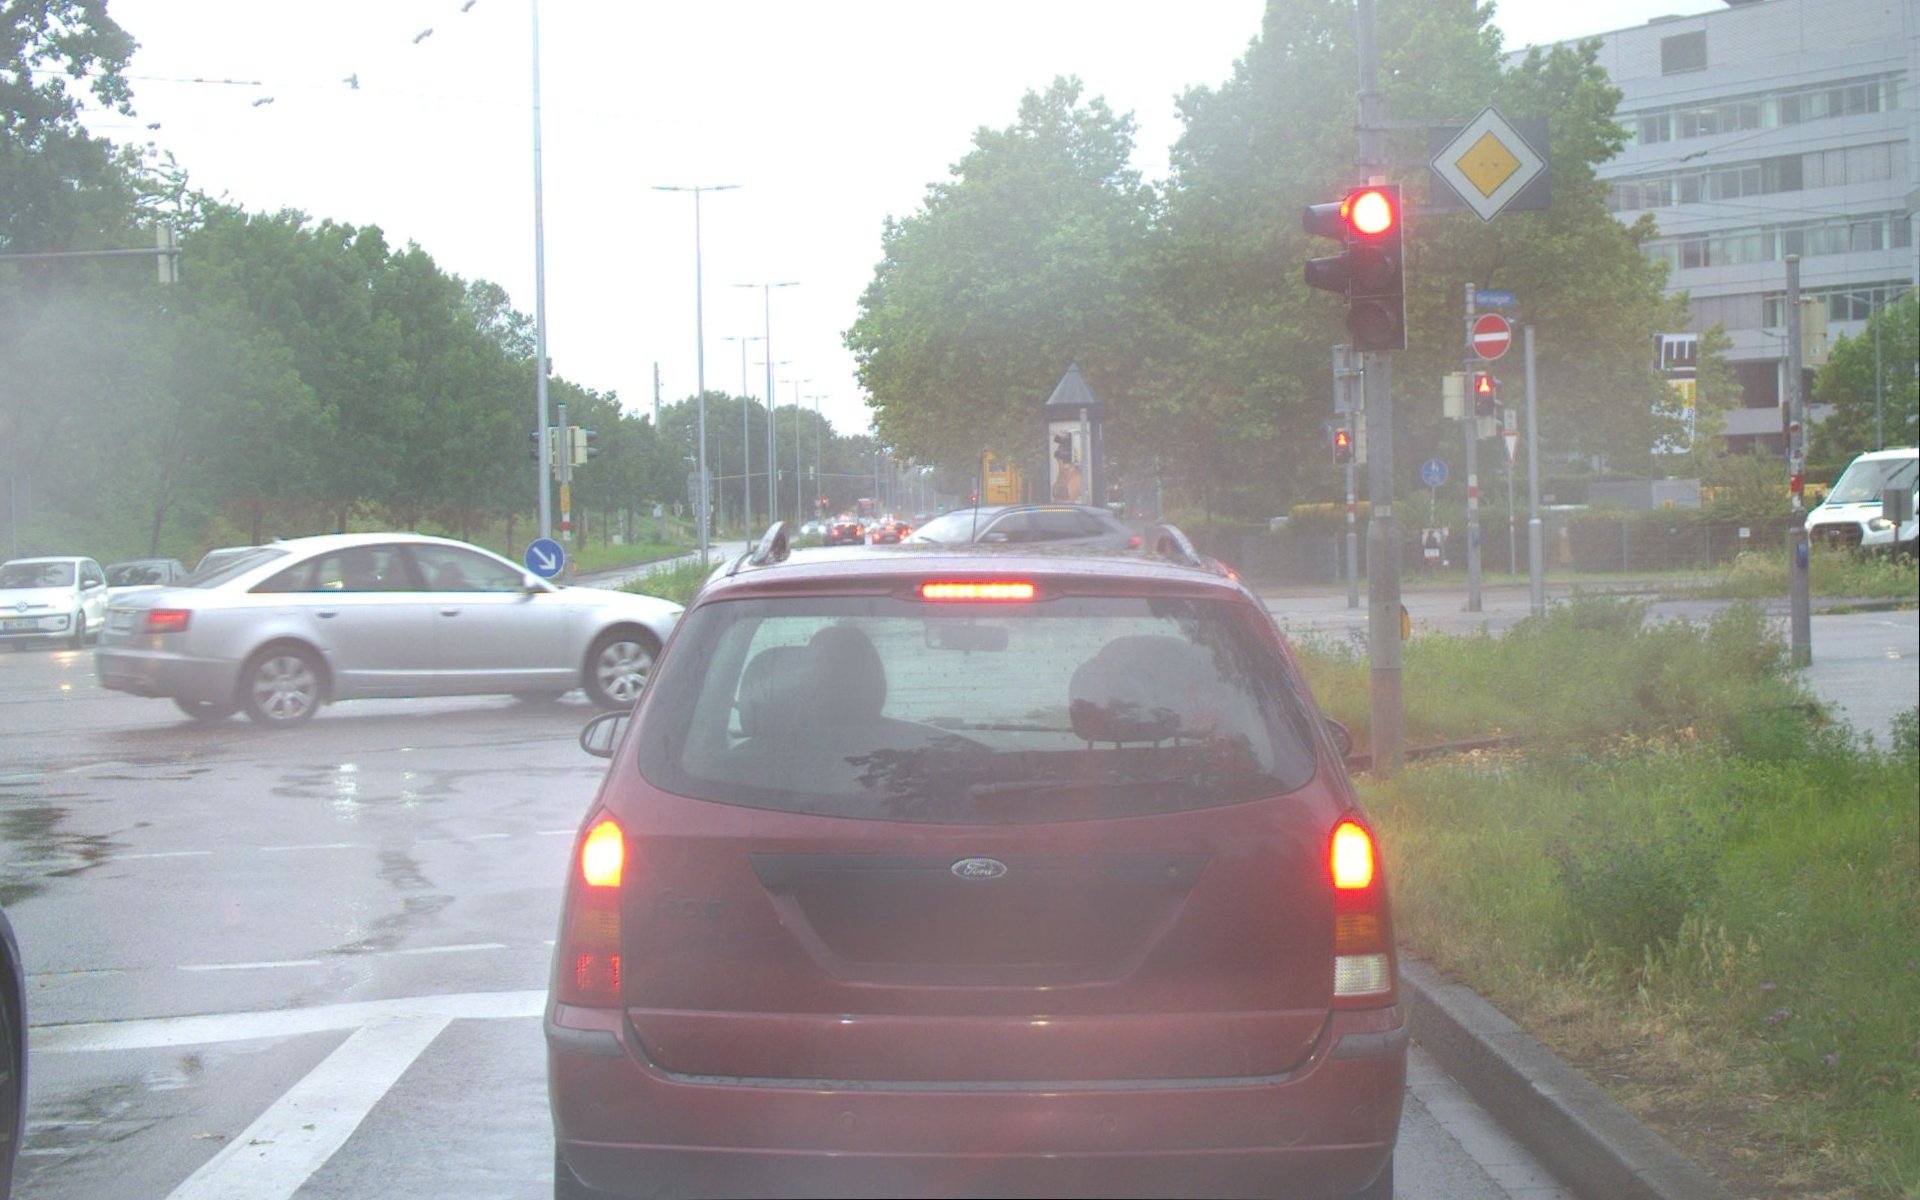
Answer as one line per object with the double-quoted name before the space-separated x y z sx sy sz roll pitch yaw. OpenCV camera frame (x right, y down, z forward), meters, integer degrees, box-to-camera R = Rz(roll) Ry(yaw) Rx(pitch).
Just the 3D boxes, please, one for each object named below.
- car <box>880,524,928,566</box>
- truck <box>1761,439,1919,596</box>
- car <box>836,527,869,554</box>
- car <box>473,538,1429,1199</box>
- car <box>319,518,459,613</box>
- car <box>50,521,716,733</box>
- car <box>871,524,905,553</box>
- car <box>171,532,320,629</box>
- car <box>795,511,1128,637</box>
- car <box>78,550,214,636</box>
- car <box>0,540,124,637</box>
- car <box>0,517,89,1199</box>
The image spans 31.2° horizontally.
"car" -2.107 -2.091 130.492 1.671 1.522 3.846 -1 1 1
"truck" 16.006 -1.354 54.674 6.847 2.357 2.482 -2 1 -37
"car" -6.274 -3.506 200.892 1.698 1.522 3.846 -1 1 1
"car" -0.067 0.610 7.829 1.642 1.460 3.733 1 1 -2
"car" -11.759 -0.751 71.153 2.065 1.813 5.542 -2 1 -2
"car" -4.540 0.172 27.274 4.814 1.485 1.927 -2 1 -30
"car" -3.968 -3.409 190.421 1.698 1.522 3.846 -1 1 1
"car" -11.630 -0.344 56.144 1.638 1.468 3.965 -2 1 -1
"car" 0.053 -0.374 46.159 4.234 1.554 1.746 -2 1 -37
"car" -14.507 -0.151 61.430 1.590 1.399 3.823 -2 1 -2
"car" -14.629 -0.199 55.101 1.638 1.447 3.788 -2 1 -3
"car" -2.684 0.655 4.898 1.769 1.568 4.822 1 1 -2
